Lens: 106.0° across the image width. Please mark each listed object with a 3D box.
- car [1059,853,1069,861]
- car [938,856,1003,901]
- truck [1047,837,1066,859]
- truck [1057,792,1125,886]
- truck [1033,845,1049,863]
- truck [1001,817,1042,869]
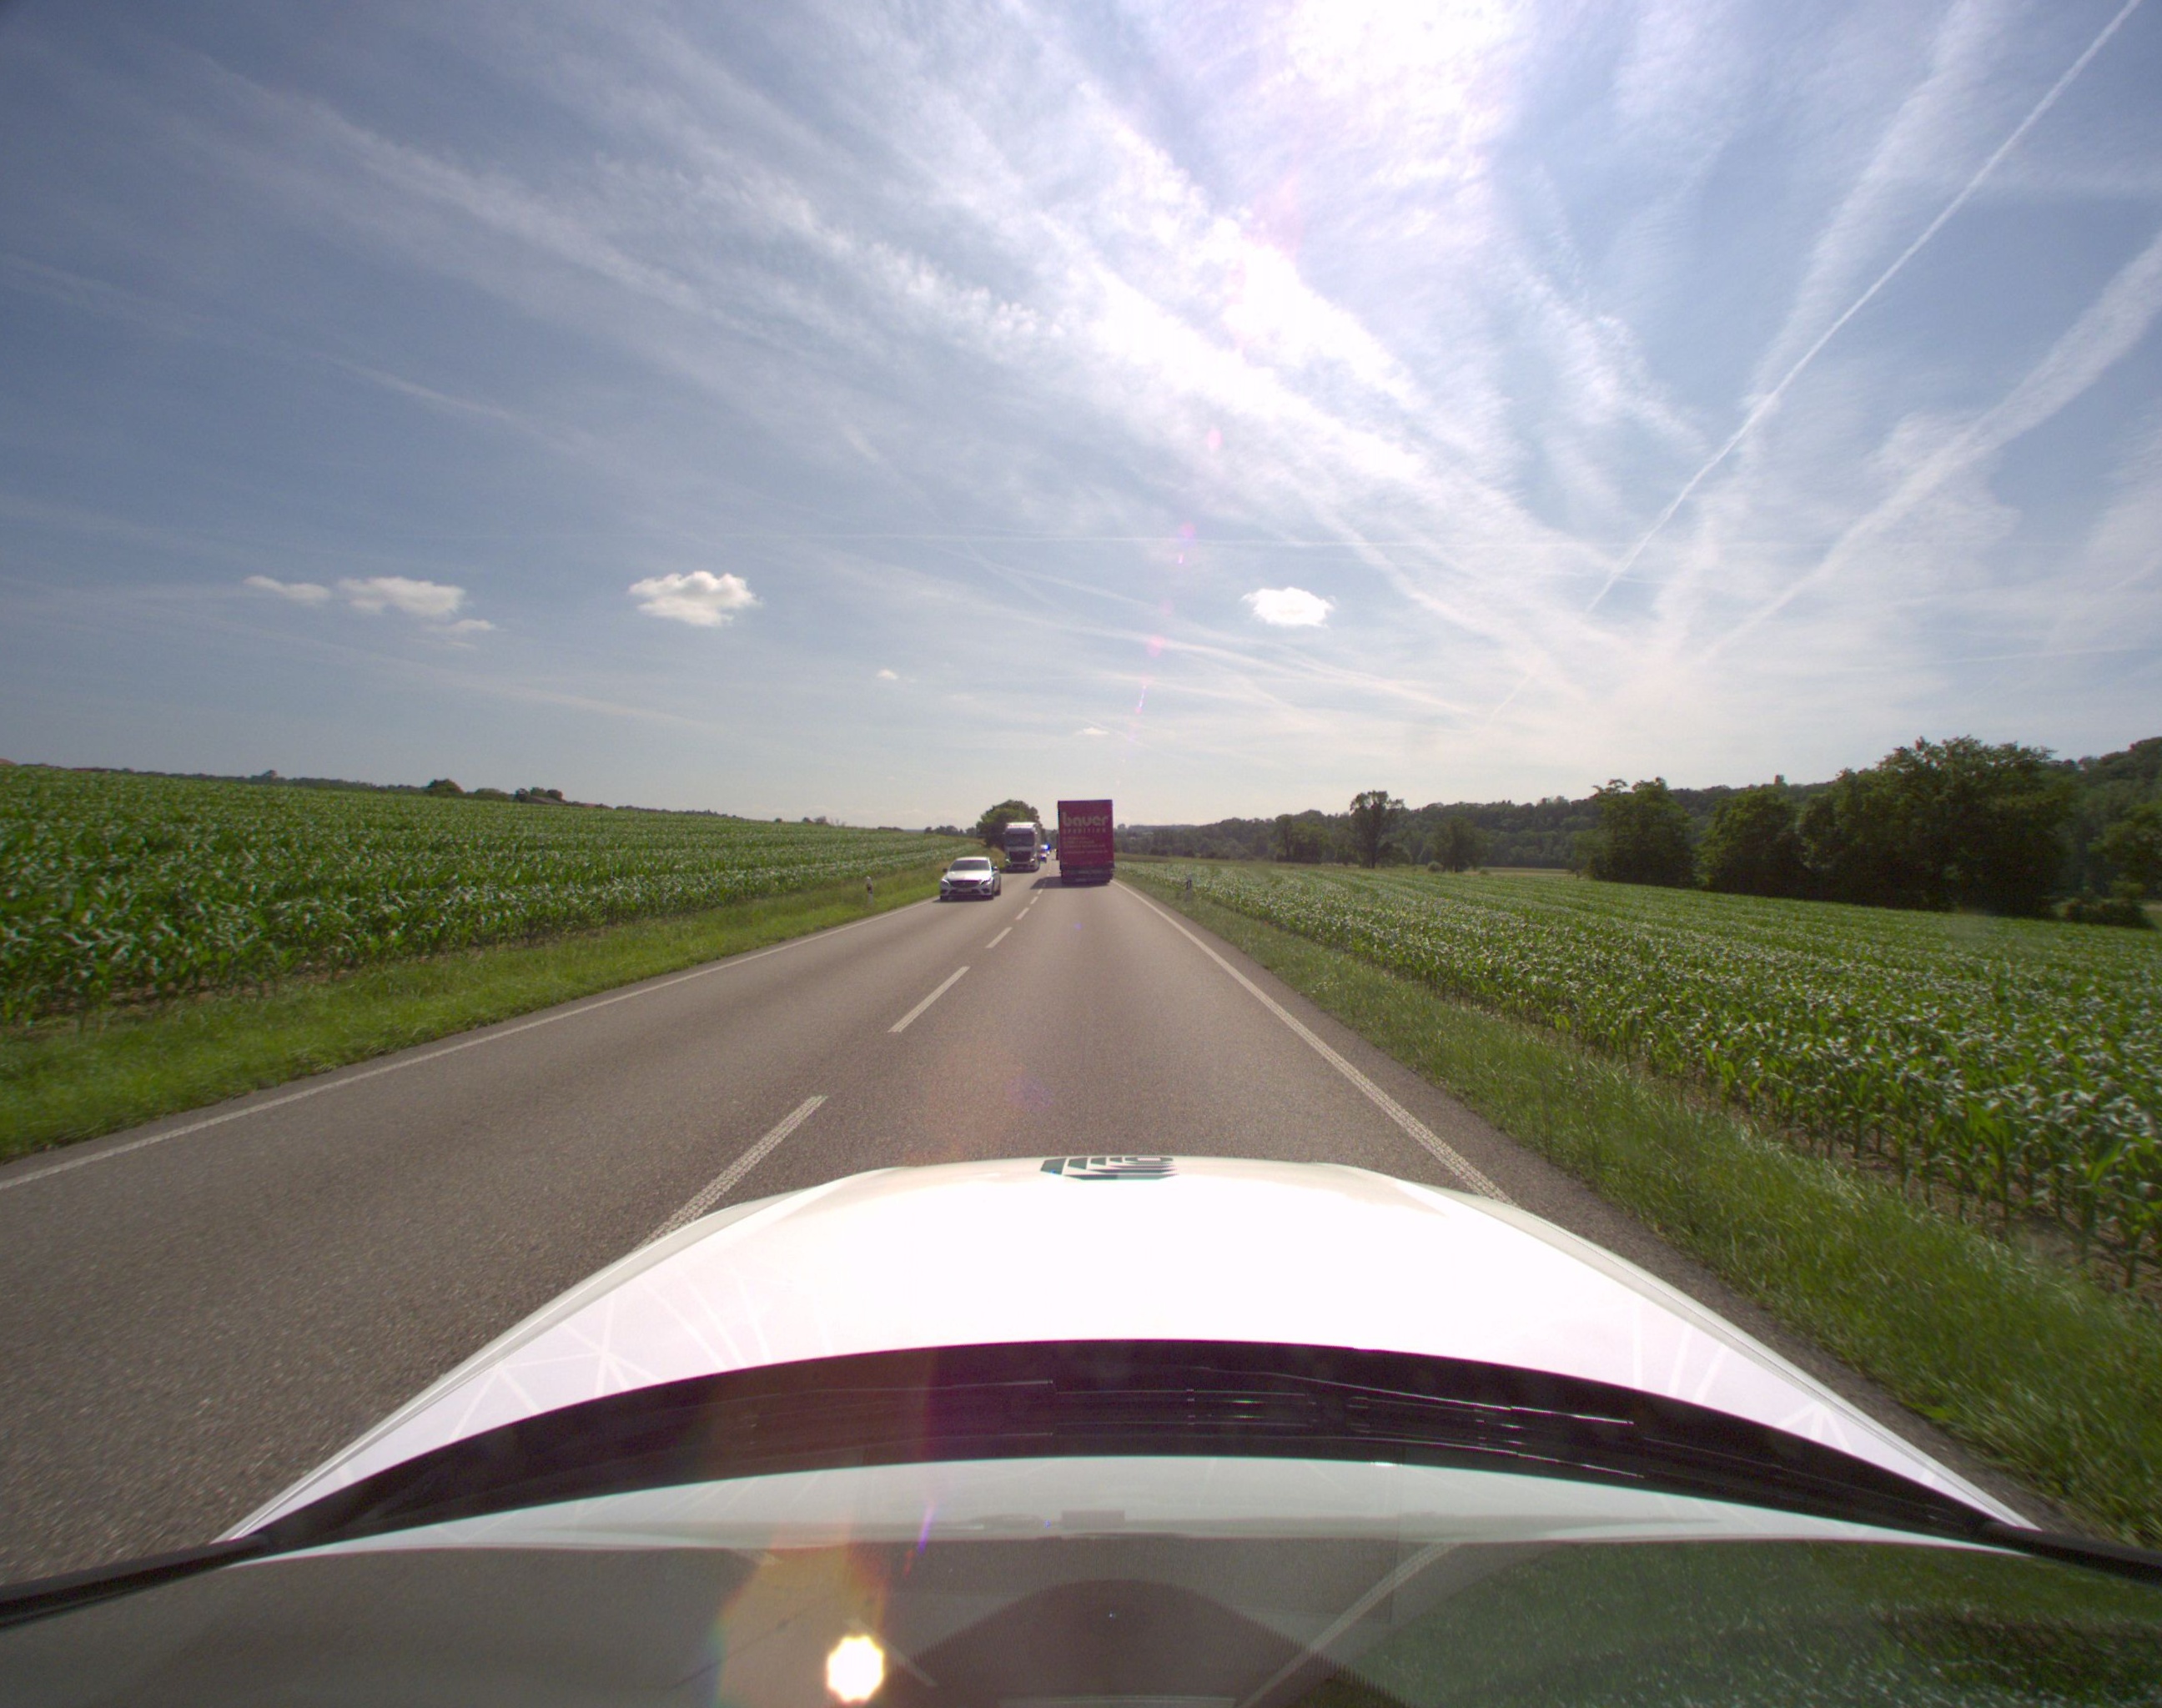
[{"bbox_3d":[-3.057,0.514,144.671,1.576,1.501,3.877,-1,0,1],"label":"car"},{"bbox_3d":[-3.837,0.828,28.987,1.723,1.440,4.176,-1,0,0],"label":"car"},{"bbox_3d":[-5.201,-1.134,173.581,3.629,4.292,11.981,-1,-1,0],"label":"truck"},{"bbox_3d":[0.453,-0.645,41.665,3.085,4.263,8.311,-1,-1,0],"label":"truck"},{"bbox_3d":[-6.026,-0.006,122.512,2.202,2.672,6.411,-1,0,-2],"label":"truck"},{"bbox_3d":[-5.036,-0.834,71.866,2.819,3.992,16.522,-1,0,-2],"label":"truck"}]
